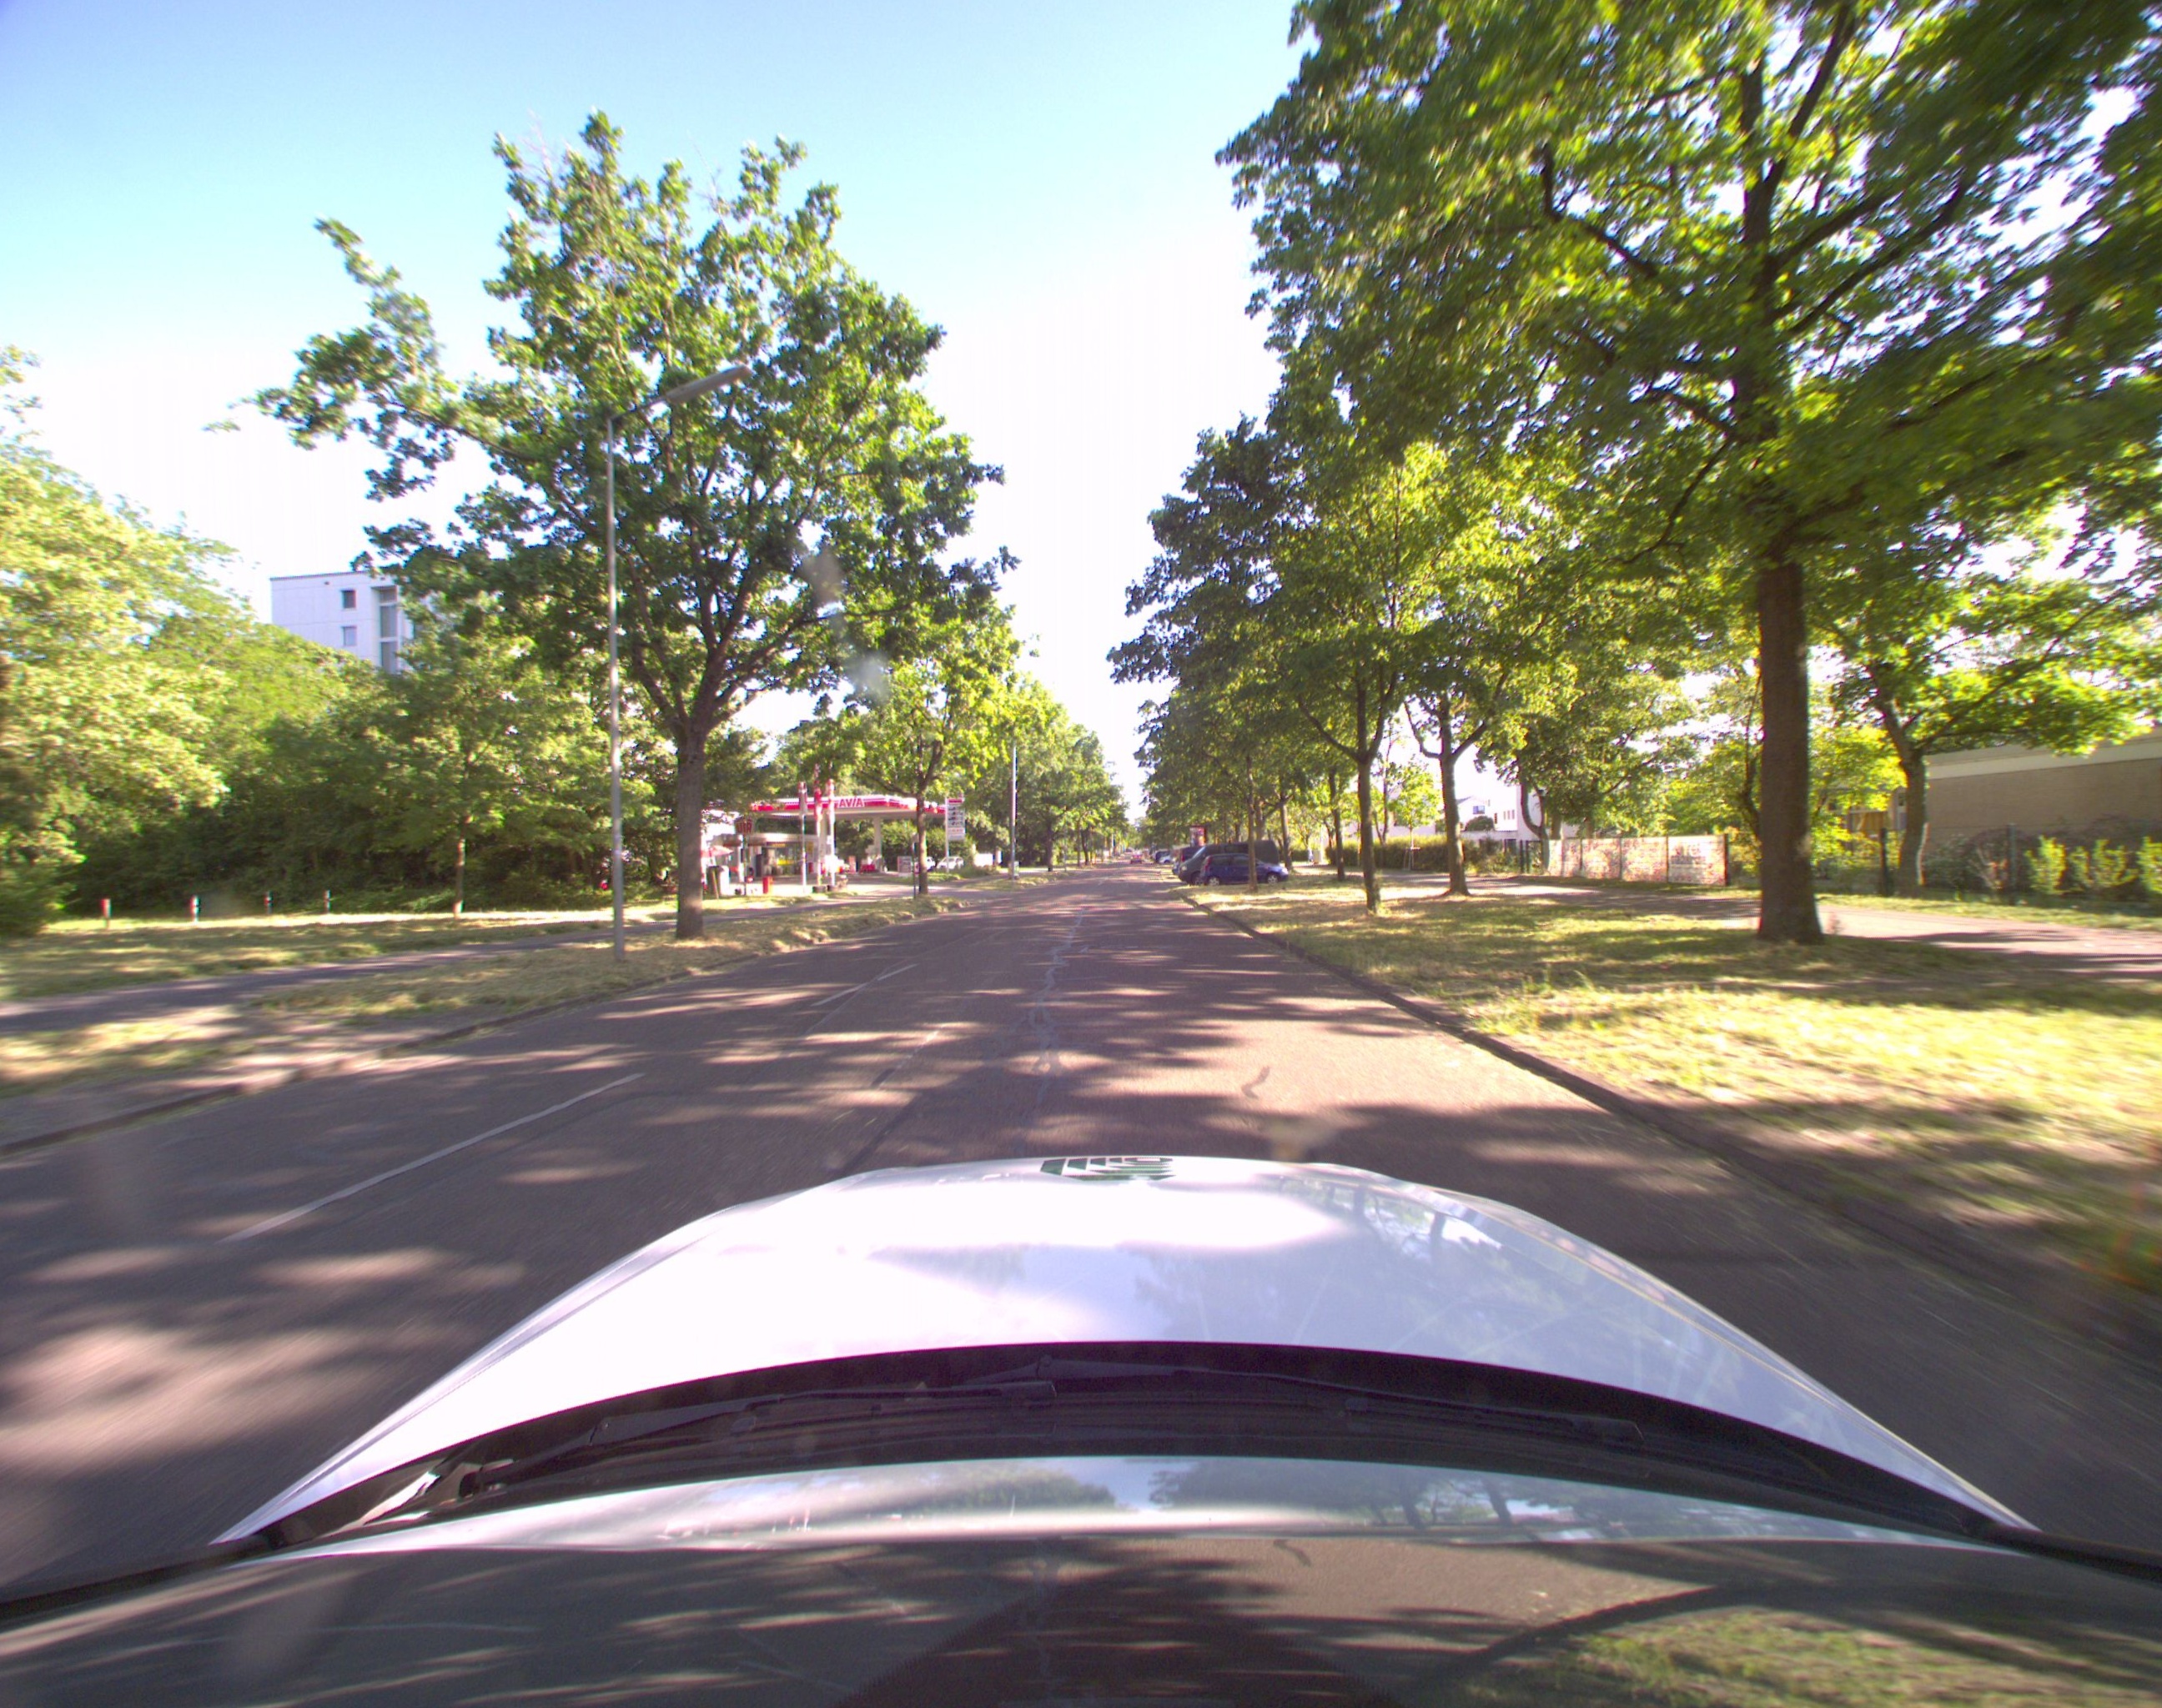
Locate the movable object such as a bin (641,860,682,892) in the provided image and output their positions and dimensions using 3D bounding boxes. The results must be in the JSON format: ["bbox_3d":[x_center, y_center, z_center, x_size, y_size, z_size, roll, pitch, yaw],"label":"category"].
[{"bbox_3d":[-21.022,1.089,40.821,1.298,1.542,1.269,-2,0,5],"label":"movable object such as a bin"}]

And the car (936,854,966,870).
[{"bbox_3d":[-12.209,0.731,76.611,1.536,1.422,3.498,0,0,12],"label":"car"}]

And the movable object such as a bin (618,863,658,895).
[{"bbox_3d":[-22.080,1.241,40.614,1.298,1.542,1.165,0,0,5],"label":"movable object such as a bin"}]

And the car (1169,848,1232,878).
[{"bbox_3d":[7.023,0.527,48.066,3.503,1.532,1.667,-3,0,5],"label":"car"}]

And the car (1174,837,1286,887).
[{"bbox_3d":[6.800,0.361,37.567,4.782,2.032,1.946,-3,0,3],"label":"car"}]

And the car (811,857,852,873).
[{"bbox_3d":[-22.836,0.964,74.516,3.173,1.400,1.590,0,0,12],"label":"car"}]

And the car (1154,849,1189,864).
[{"bbox_3d":[12.125,0.309,109.541,4.509,1.801,1.938,-3,0,4],"label":"car"}]

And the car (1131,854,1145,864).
[{"bbox_3d":[8.599,0.740,123.984,1.985,1.484,4.003,-1,0,3],"label":"car"}]

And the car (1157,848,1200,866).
[{"bbox_3d":[10.784,0.332,90.035,4.620,1.722,1.990,-3,0,4],"label":"car"}]

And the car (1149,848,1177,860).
[{"bbox_3d":[15.769,0.040,156.861,5.166,2.105,2.084,-2,0,2],"label":"car"}]

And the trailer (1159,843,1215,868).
[{"bbox_3d":[11.287,0.126,87.185,5.745,2.317,1.689,-3,0,6],"label":"trailer"}]

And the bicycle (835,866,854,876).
[{"bbox_3d":[-20.287,1.458,69.925,0.612,0.807,1.788,-1,0,19],"label":"bicycle"}]

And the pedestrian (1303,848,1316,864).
[{"bbox_3d":[21.344,0.194,75.920,0.873,1.500,0.949,-3,0,32],"label":"pedestrian"}]

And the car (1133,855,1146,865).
[{"bbox_3d":[10.243,1.014,142.506,1.986,1.655,4.001,-1,0,1],"label":"car"}]

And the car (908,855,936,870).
[{"bbox_3d":[-14.958,0.750,76.571,1.413,1.367,3.216,0,0,12],"label":"car"}]

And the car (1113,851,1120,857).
[{"bbox_3d":[10.536,0.126,240.334,1.985,1.716,4.004,-1,0,4],"label":"car"}]

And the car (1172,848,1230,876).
[{"bbox_3d":[7.751,0.509,52.645,3.566,1.576,1.789,-3,0,5],"label":"car"}]

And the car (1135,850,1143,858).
[{"bbox_3d":[15.171,-0.073,213.041,1.985,1.933,4.004,-1,0,4],"label":"car"}]

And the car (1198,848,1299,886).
[{"bbox_3d":[7.062,0.552,34.685,3.971,1.403,1.741,-3,0,3],"label":"car"}]

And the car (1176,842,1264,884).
[{"bbox_3d":[6.805,0.440,40.189,3.994,1.837,1.800,-3,-1,1],"label":"car"}]
